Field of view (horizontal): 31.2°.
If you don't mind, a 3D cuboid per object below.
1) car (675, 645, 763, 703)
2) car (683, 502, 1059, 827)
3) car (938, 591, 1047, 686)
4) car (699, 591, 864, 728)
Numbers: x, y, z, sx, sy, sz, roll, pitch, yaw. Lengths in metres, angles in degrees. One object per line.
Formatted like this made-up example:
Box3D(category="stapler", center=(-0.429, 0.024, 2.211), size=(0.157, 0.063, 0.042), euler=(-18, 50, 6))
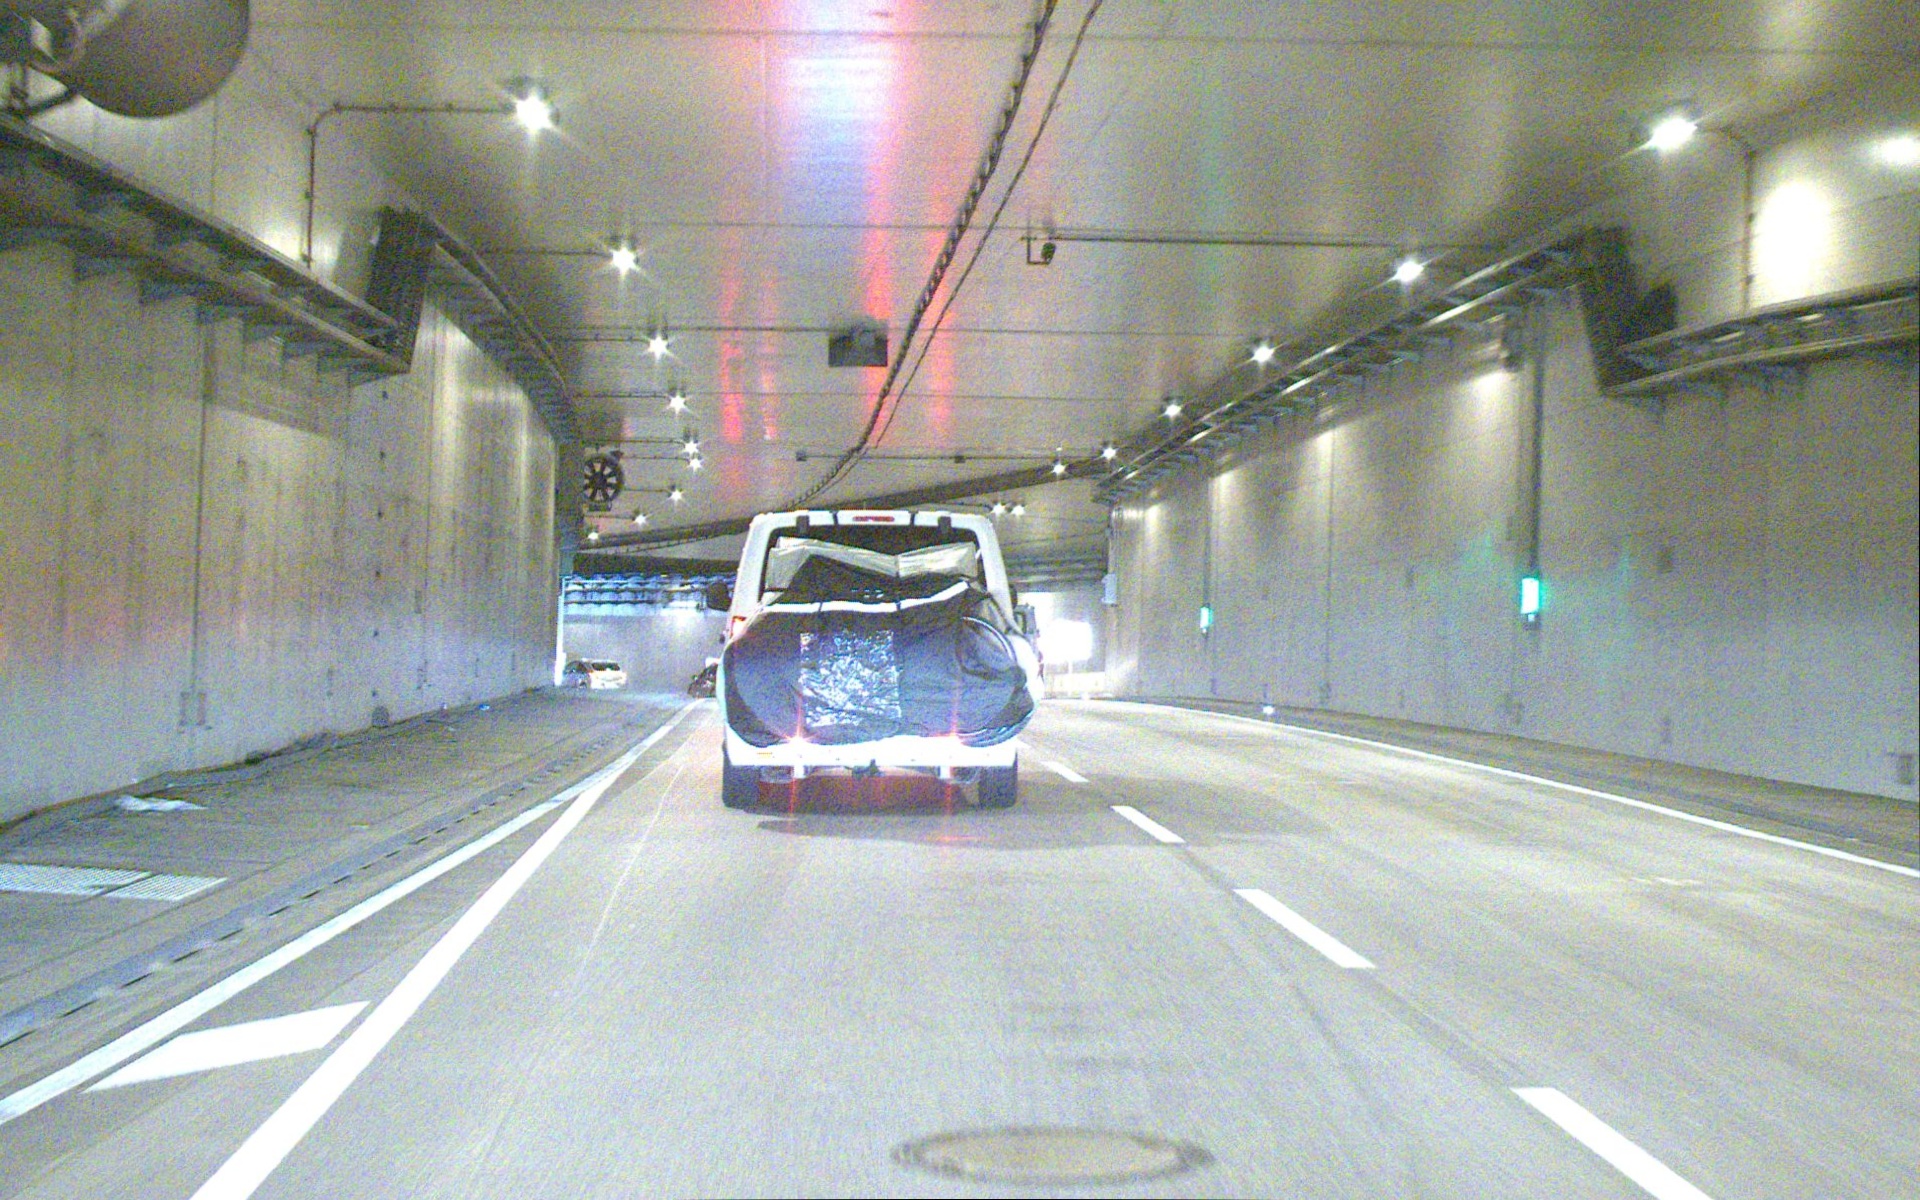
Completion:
Box3D(category="car", center=(-7.290, 2.218, 103.830), size=(1.822, 1.625, 3.844), euler=(4, -2, -16))
Box3D(category="car", center=(-0.721, 0.355, 22.410), size=(1.993, 1.841, 5.302), euler=(1, 0, -6))
Box3D(category="car", center=(0.550, 0.704, 61.072), size=(1.602, 1.625, 3.356), euler=(0, -1, -5))
Box3D(category="car", center=(-1.982, 0.632, 37.466), size=(1.602, 1.391, 3.277), euler=(1, -1, -6))
